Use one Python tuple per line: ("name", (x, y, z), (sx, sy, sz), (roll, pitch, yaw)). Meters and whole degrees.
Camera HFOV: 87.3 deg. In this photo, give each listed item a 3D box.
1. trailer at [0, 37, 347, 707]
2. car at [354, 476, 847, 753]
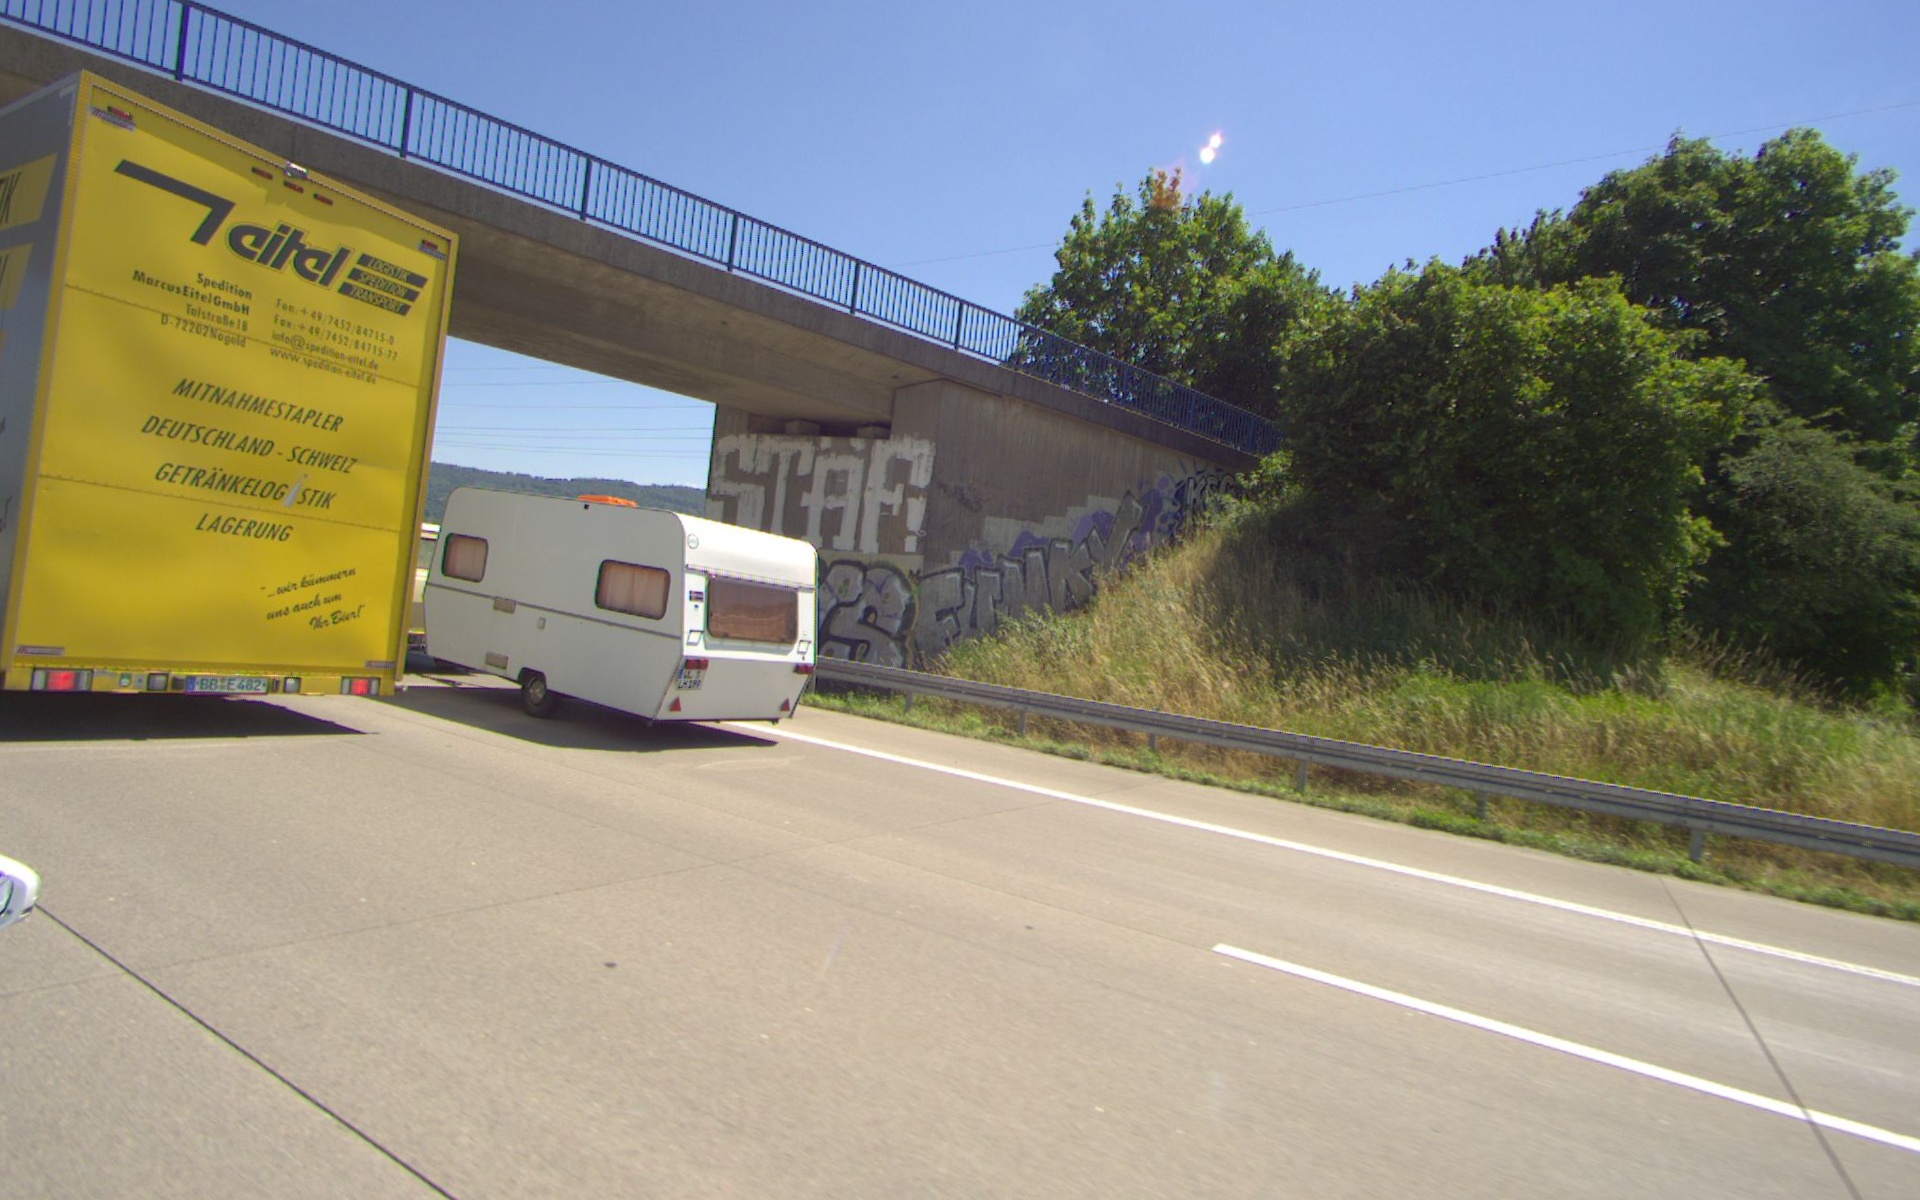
("trailer", (-12.098, -2.071, 11.118), (14.945, 4.304, 1.997), (6, -1, 31))
("car", (-4.212, 0.059, 11.440), (5.424, 2.374, 2.138), (6, -2, 32))
